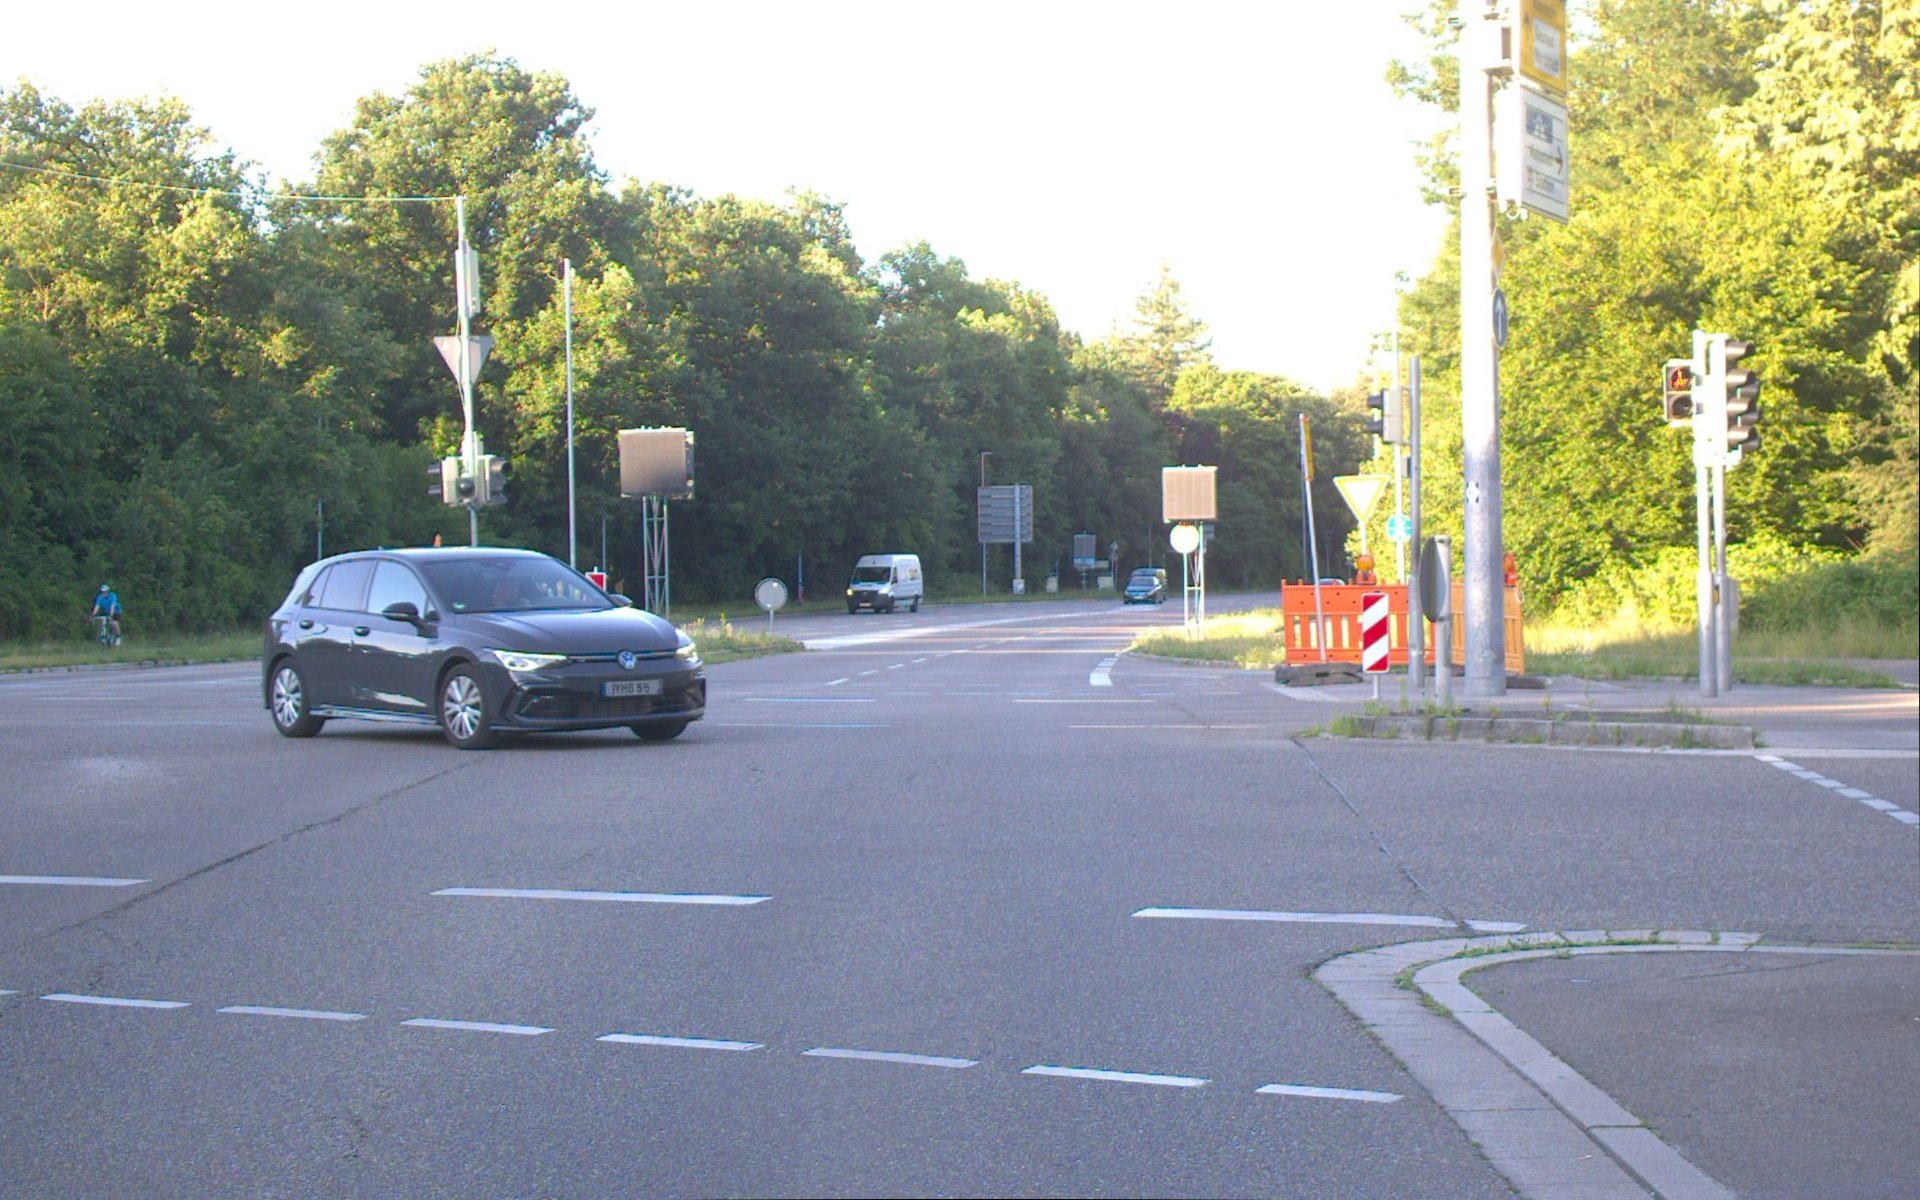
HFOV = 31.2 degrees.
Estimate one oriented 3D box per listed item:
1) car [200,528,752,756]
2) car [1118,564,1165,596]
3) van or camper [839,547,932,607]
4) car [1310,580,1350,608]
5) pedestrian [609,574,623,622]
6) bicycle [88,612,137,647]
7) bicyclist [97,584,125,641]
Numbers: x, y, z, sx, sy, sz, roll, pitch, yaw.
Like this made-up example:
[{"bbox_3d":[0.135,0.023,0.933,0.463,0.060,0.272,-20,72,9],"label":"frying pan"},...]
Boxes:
[{"bbox_3d":[-3.705,0.260,25.616,1.994,1.524,4.677,-1,1,-38],"label":"car"},{"bbox_3d":[10.138,-1.107,192.010,1.994,1.634,3.998,-2,2,12],"label":"car"},{"bbox_3d":[-3.357,-1.061,156.959,2.886,2.643,7.119,0,1,10],"label":"van or camper"},{"bbox_3d":[21.832,-0.350,202.844,1.994,1.612,3.998,0,1,11],"label":"car"},{"bbox_3d":[-14.565,-0.094,145.611,0.521,2.007,0.600,1,0,-1],"label":"pedestrian"},{"bbox_3d":[-20.770,0.728,84.253,1.103,0.823,0.413,-1,1,-41],"label":"bicycle"},{"bbox_3d":[-20.803,0.298,84.215,0.518,1.382,0.407,-1,1,-42],"label":"bicyclist"}]
